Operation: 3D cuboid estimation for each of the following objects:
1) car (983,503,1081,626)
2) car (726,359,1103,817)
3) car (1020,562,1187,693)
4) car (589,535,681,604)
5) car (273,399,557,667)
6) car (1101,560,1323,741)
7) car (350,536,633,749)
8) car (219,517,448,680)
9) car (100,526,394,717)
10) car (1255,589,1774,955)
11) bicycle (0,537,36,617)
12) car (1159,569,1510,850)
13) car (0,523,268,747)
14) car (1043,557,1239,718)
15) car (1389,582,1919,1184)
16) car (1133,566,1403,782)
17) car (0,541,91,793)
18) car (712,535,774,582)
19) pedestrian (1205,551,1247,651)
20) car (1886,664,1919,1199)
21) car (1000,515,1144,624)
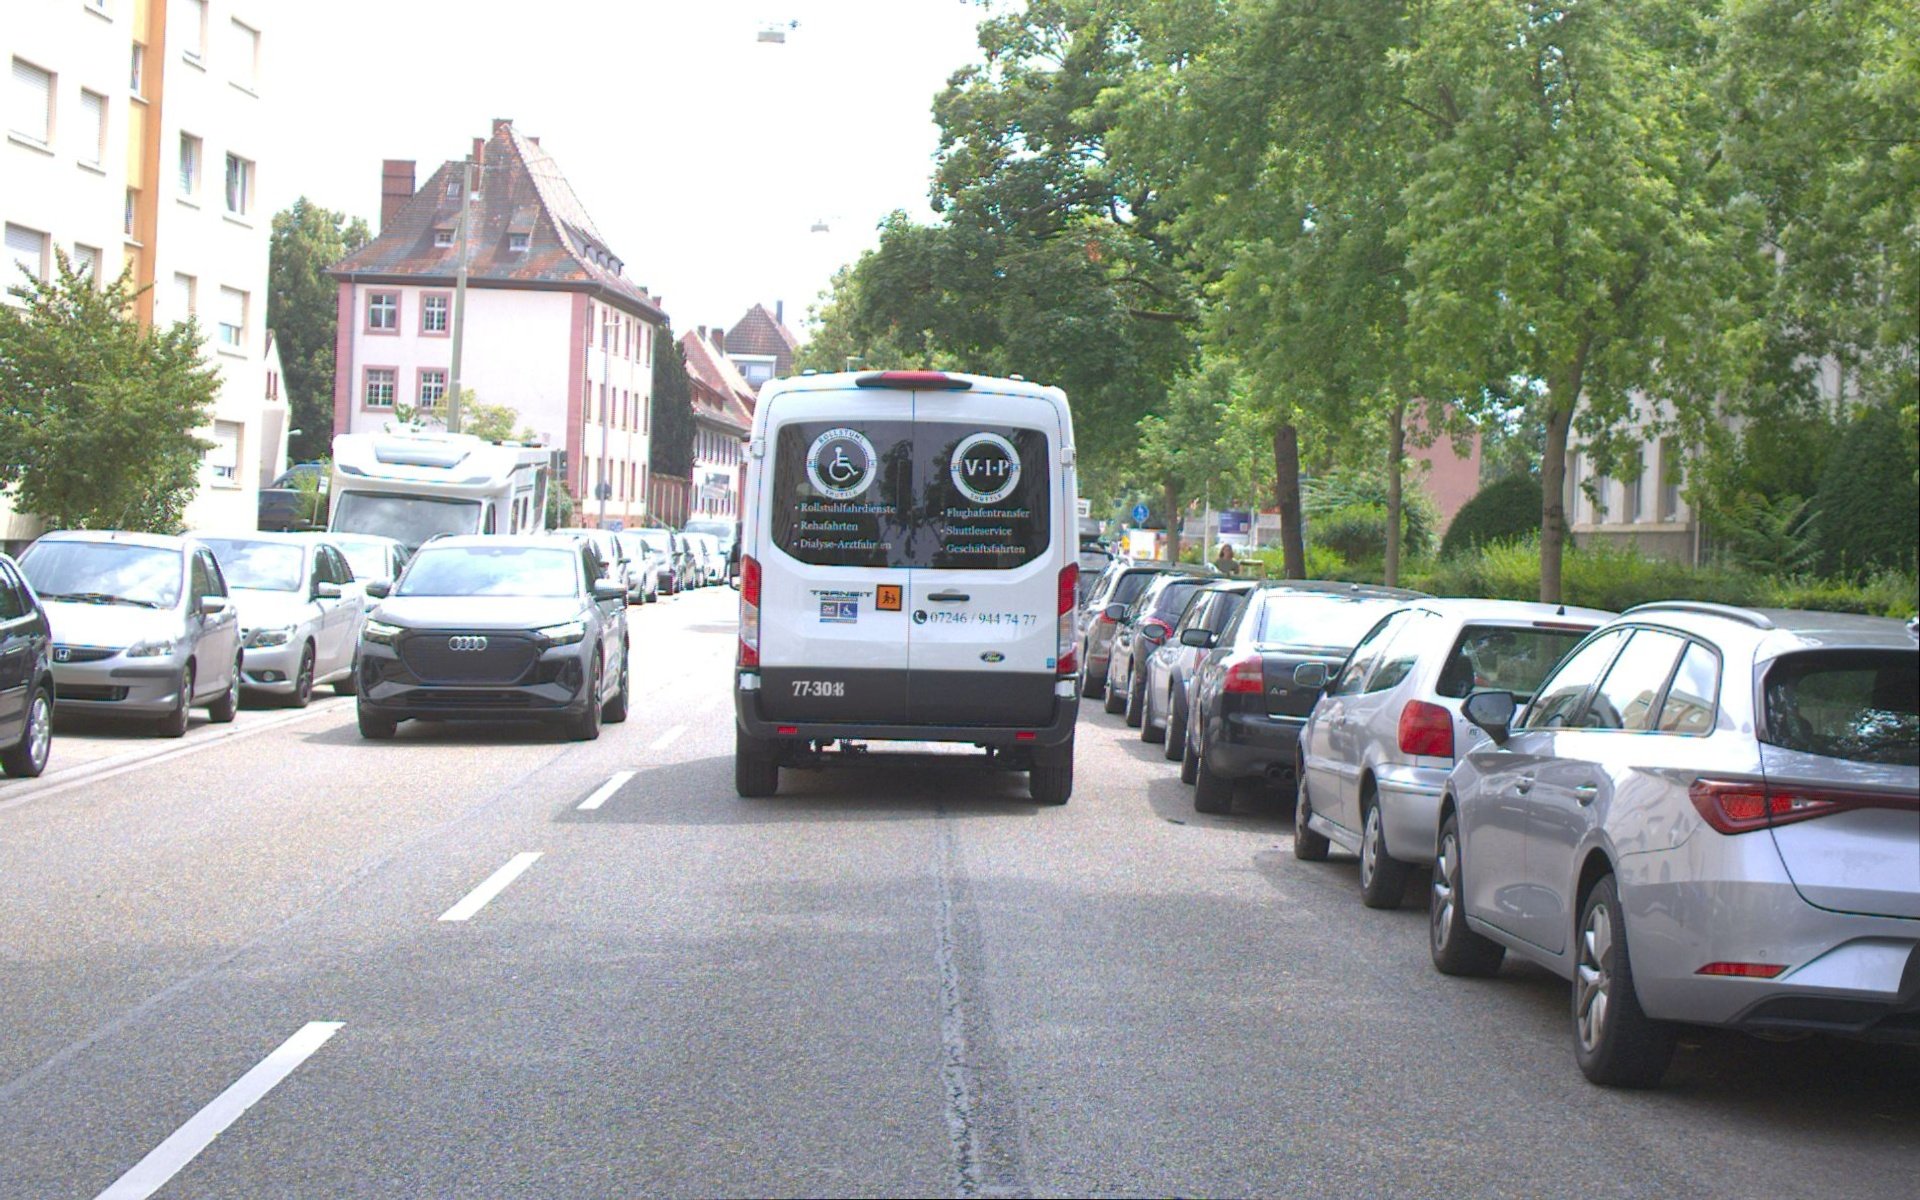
[{"bbox_3d":[1.608,-0.810,78.376,1.897,2.578,4.829,5,1,-1],"label":"car"},{"bbox_3d":[-0.361,-0.086,21.636,2.070,2.531,4.635,1,0,-3],"label":"car"},{"bbox_3d":[1.780,0.308,43.832,1.617,1.464,4.392,3,1,-3],"label":"car"},{"bbox_3d":[-7.901,-0.751,83.932,1.786,1.538,3.861,3,1,0],"label":"car"},{"bbox_3d":[-6.858,-0.851,44.221,2.510,3.013,7.397,3,1,-2],"label":"car"},{"bbox_3d":[2.314,0.427,32.459,1.659,1.464,3.890,1,2,-2],"label":"car"},{"bbox_3d":[-3.746,0.284,28.149,1.818,1.580,4.437,1,1,-2],"label":"car"},{"bbox_3d":[-6.750,-0.051,37.440,1.688,1.574,4.594,3,1,-2],"label":"car"},{"bbox_3d":[-6.615,0.152,32.367,1.755,1.574,4.568,3,1,0],"label":"car"},{"bbox_3d":[2.536,0.730,16.614,1.670,1.396,3.852,4,1,-2],"label":"car"},{"bbox_3d":[-12.365,-0.293,43.941,0.452,0.977,2.446,2,2,-1],"label":"bicycle"},{"bbox_3d":[2.252,0.599,21.765,1.780,1.464,4.614,3,1,2],"label":"car"},{"bbox_3d":[-6.676,0.212,27.116,1.722,1.534,4.005,2,2,-2],"label":"car"},{"bbox_3d":[1.992,0.380,38.927,1.659,1.577,4.286,4,1,-3],"label":"car"},{"bbox_3d":[2.660,0.752,11.260,1.697,1.464,4.718,3,1,-2],"label":"car"},{"bbox_3d":[2.383,0.536,27.439,1.659,1.464,3.726,2,2,-2],"label":"car"},{"bbox_3d":[-6.606,0.366,20.254,1.818,1.478,4.116,3,1,1],"label":"car"},{"bbox_3d":[-7.411,-1.431,117.473,1.786,1.477,3.861,3,1,0],"label":"car"},{"bbox_3d":[4.929,0.015,63.680,0.522,1.822,0.523,1,1,-44],"label":"pedestrian"},{"bbox_3d":[2.960,0.827,5.022,1.697,1.464,4.754,3,1,-2],"label":"car"},{"bbox_3d":[1.886,-0.556,59.613,1.927,1.655,5.326,5,1,-3],"label":"car"}]
